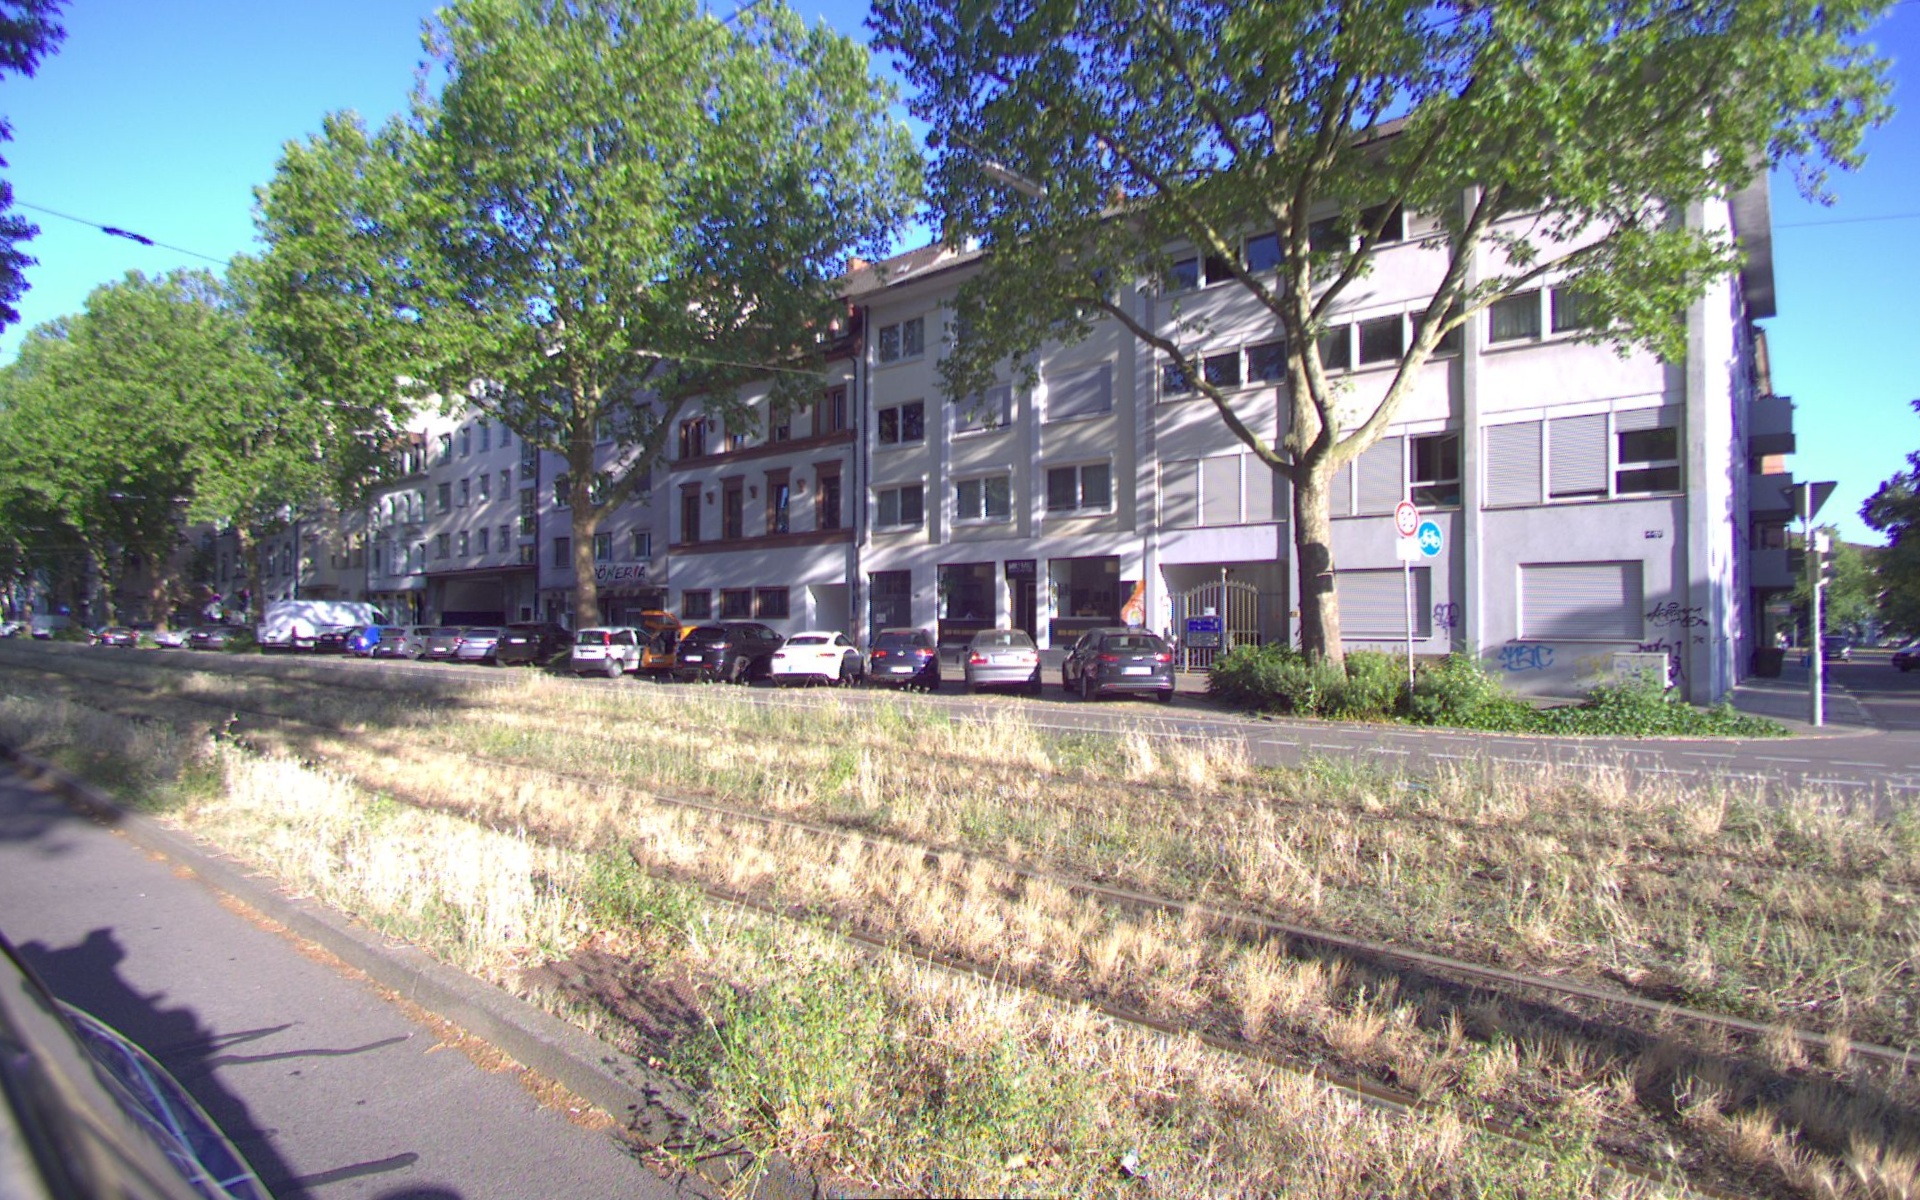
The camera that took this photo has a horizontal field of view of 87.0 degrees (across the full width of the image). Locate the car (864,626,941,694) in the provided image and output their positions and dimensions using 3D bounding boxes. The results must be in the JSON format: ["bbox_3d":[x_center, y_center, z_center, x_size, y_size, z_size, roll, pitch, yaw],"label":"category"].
[{"bbox_3d":[-1.443,1.447,25.687,1.776,1.452,4.002,-1,0,-3],"label":"car"}]

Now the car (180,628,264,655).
[{"bbox_3d":[-45.533,2.588,62.551,1.912,1.605,4.155,0,-4,4],"label":"car"}]

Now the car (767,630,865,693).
[{"bbox_3d":[-3.696,1.561,26.692,1.700,1.343,4.200,-1,0,4],"label":"car"}]

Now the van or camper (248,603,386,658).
[{"bbox_3d":[-33.113,1.575,52.371,2.162,2.666,5.929,-1,-2,19],"label":"van or camper"}]

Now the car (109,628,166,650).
[{"bbox_3d":[-63.514,3.013,78.210,1.703,1.666,4.008,0,-2,-10],"label":"car"}]

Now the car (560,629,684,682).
[{"bbox_3d":[-10.465,1.675,31.700,1.643,1.460,4.345,0,-1,14],"label":"car"}]

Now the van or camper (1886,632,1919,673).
[{"bbox_3d":[50.192,2.629,50.826,5.081,2.029,1.993,0,-2,12],"label":"van or camper"}]

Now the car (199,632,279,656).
[{"bbox_3d":[-43.005,2.618,60.450,1.778,1.368,4.002,0,-3,3],"label":"car"}]

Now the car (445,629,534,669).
[{"bbox_3d":[-18.300,1.867,39.553,1.883,1.396,4.004,-1,-1,-5],"label":"car"}]

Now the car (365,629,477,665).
[{"bbox_3d":[-23.605,2.042,44.438,1.941,1.503,3.964,-1,-2,27],"label":"car"}]

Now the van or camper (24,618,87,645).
[{"bbox_3d":[-88.327,3.066,98.895,2.171,2.418,4.364,-1,1,0],"label":"van or camper"}]

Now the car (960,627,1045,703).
[{"bbox_3d":[0.898,1.409,23.282,1.698,1.452,4.000,-1,0,-1],"label":"car"}]

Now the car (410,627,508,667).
[{"bbox_3d":[-20.540,1.897,41.673,1.735,1.433,3.993,-1,0,6],"label":"car"}]

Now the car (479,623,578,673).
[{"bbox_3d":[-15.684,1.697,37.021,1.972,1.673,4.000,-1,-1,-1],"label":"car"}]

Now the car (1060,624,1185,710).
[{"bbox_3d":[3.293,1.324,21.293,1.791,1.490,4.002,-1,0,-2],"label":"car"}]

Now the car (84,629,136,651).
[{"bbox_3d":[-56.640,2.651,67.398,4.480,1.400,1.802,-1,-4,40],"label":"car"}]

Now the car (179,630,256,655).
[{"bbox_3d":[-47.732,2.764,65.179,1.803,1.545,3.994,0,-3,4],"label":"car"}]

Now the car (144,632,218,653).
[{"bbox_3d":[-51.789,2.808,67.345,1.806,1.400,3.670,0,-2,9],"label":"car"}]

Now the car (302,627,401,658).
[{"bbox_3d":[-30.748,2.137,51.260,1.984,1.502,3.975,-1,-2,18],"label":"car"}]

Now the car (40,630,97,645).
[{"bbox_3d":[-86.021,3.602,97.692,1.709,1.256,3.993,-1,1,6],"label":"car"}]

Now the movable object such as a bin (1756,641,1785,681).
[{"bbox_3d":[27.823,2.086,34.747,0.745,1.315,0.861,-1,-2,39],"label":"movable object such as a bin"}]

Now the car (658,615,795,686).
[{"bbox_3d":[-6.462,1.448,28.610,1.975,1.800,4.343,1,-3,14],"label":"car"}]

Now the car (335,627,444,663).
[{"bbox_3d":[-25.981,2.032,46.206,1.854,1.431,3.951,-1,0,36],"label":"car"}]

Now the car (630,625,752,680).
[{"bbox_3d":[-8.364,1.607,31.799,1.764,1.490,3.974,-1,0,20],"label":"car"}]

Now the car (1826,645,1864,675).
[{"bbox_3d":[63.357,4.241,72.473,1.999,2.029,3.945,-1,-2,41],"label":"car"}]

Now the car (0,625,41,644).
[{"bbox_3d":[-107.385,3.956,115.157,1.971,2.029,4.002,-1,0,-2],"label":"car"}]
